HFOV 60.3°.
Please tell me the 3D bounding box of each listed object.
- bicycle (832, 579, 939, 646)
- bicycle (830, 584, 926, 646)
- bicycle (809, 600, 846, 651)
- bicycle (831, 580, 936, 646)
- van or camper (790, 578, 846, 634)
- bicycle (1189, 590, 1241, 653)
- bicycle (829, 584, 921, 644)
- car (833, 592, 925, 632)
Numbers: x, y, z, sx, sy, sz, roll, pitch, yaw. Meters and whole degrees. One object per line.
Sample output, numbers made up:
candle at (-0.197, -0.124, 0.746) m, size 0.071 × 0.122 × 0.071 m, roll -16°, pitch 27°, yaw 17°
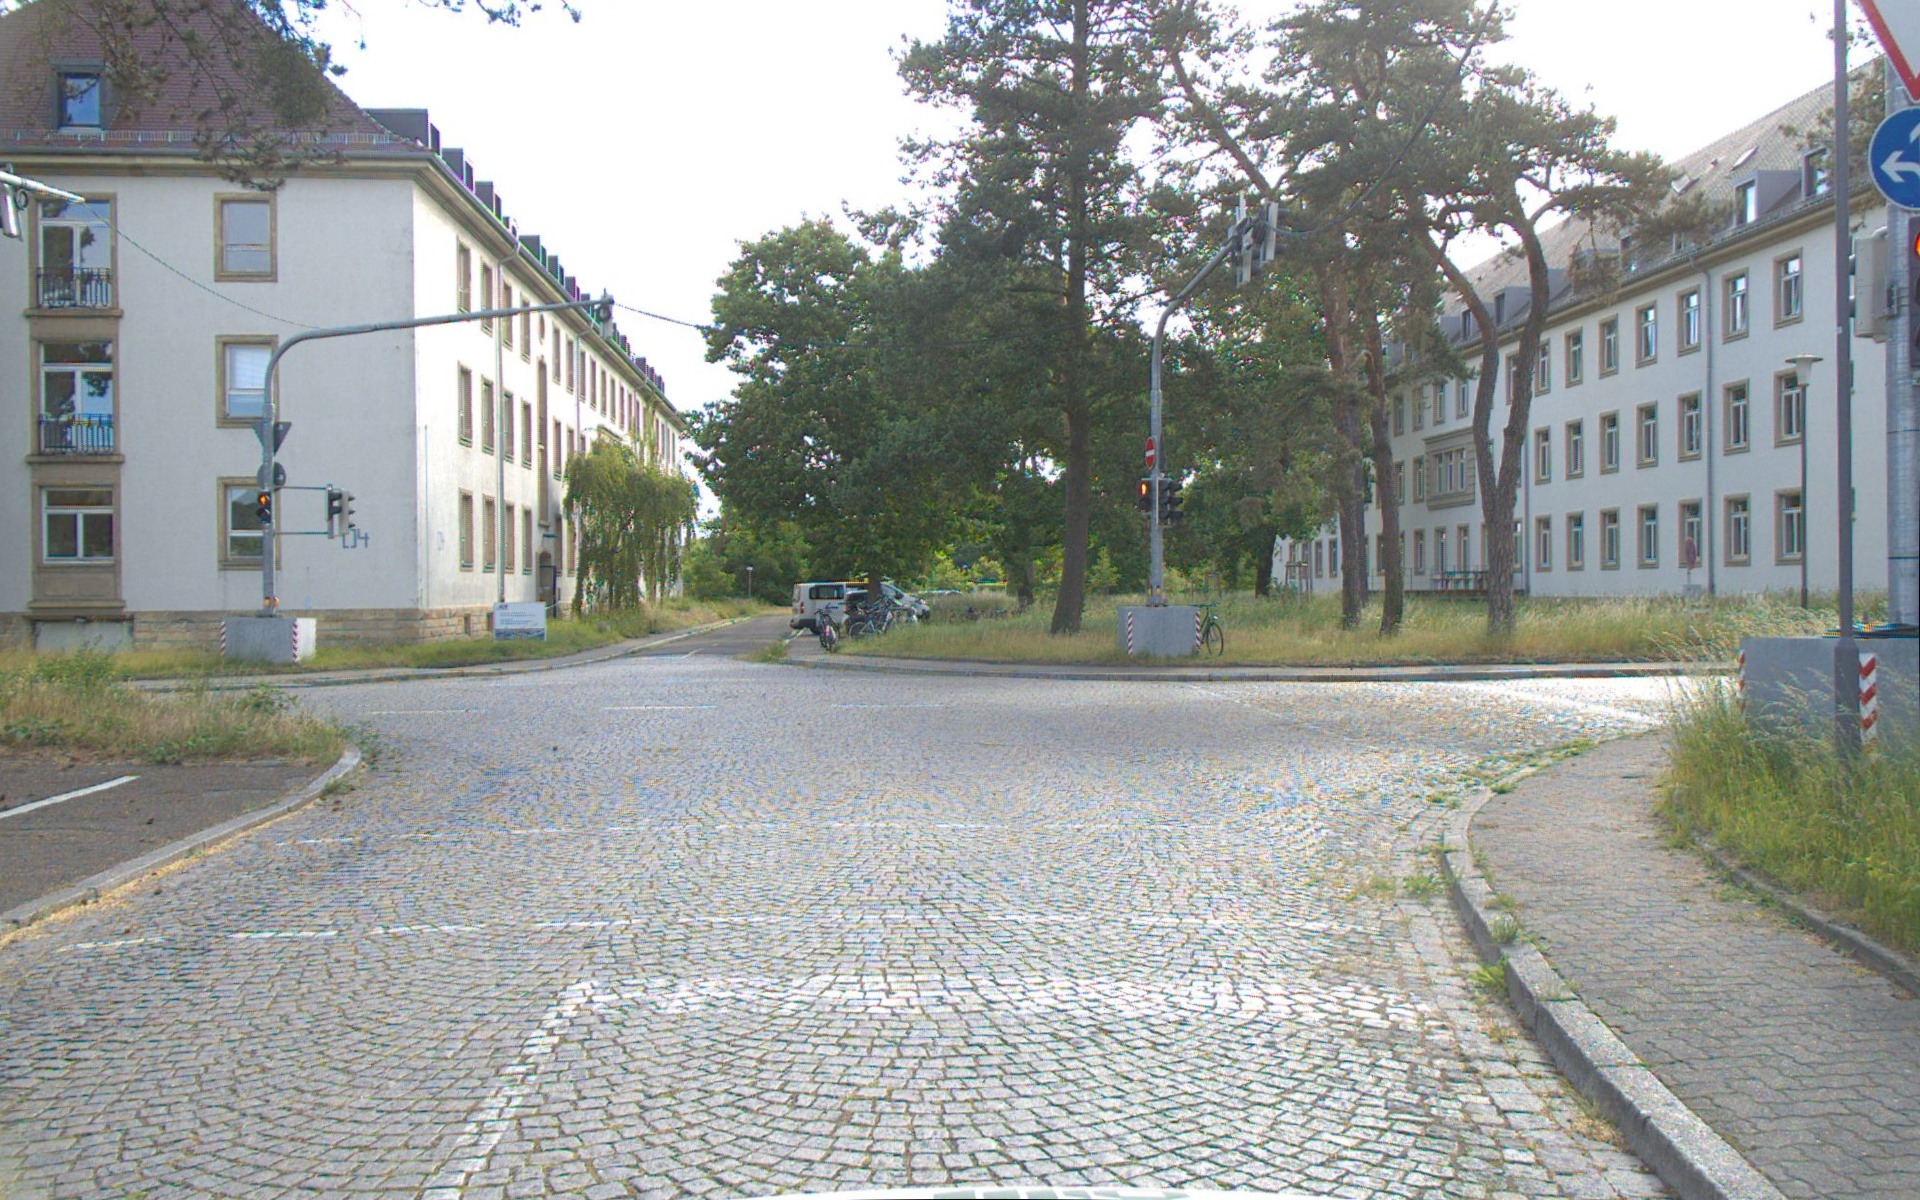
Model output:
bicycle at (-1.991, 0.324, 44.026) m, size 2.725 × 1.723 × 1.118 m, roll -1°, pitch 0°, yaw -10°
bicycle at (-2.393, 0.433, 48.765) m, size 2.719 × 1.724 × 1.120 m, roll 2°, pitch 0°, yaw 0°
bicycle at (-3.164, 0.594, 39.650) m, size 0.711 × 1.127 × 2.461 m, roll -5°, pitch 0°, yaw -3°
bicycle at (-2.097, 0.347, 45.214) m, size 2.726 × 1.723 × 1.117 m, roll -1°, pitch 0°, yaw -12°
van or camper at (-5.368, 0.208, 62.383) m, size 1.955 × 1.983 × 6.045 m, roll -1°, pitch 0°, yaw -5°
bicycle at (5.022, 0.409, 32.725) m, size 0.709 × 1.189 × 2.738 m, roll 1°, pitch 0°, yaw 2°
bicycle at (-2.567, 0.414, 50.093) m, size 2.720 × 1.724 × 1.119 m, roll 2°, pitch 0°, yaw -3°
car at (-2.882, 0.407, 58.381) m, size 3.080 × 1.378 × 1.616 m, roll -1°, pitch 0°, yaw -10°
